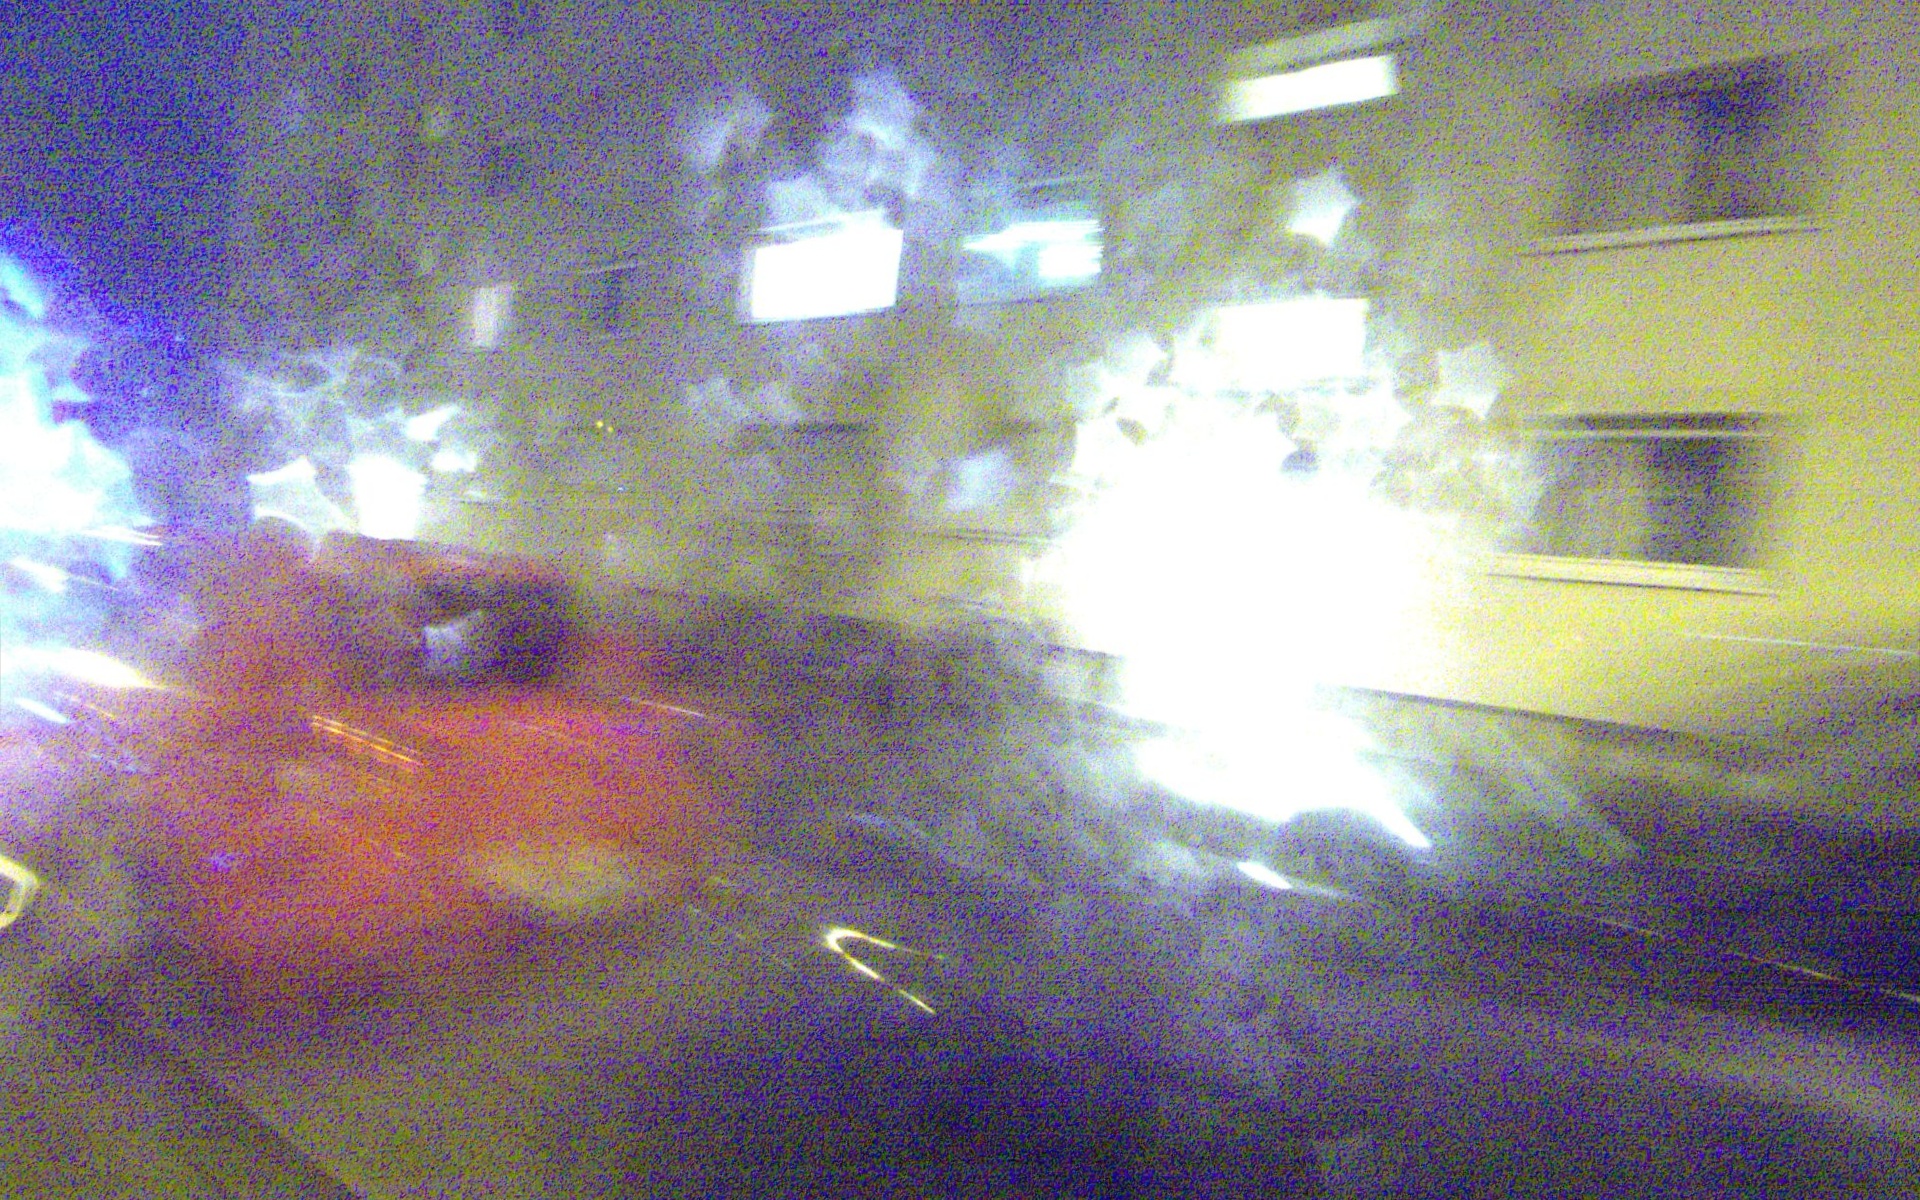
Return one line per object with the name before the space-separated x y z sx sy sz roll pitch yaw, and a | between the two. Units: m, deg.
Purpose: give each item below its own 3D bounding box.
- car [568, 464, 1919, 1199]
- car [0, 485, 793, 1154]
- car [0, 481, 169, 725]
car | 1.659 0.817 1.499 4.413 1.659 1.823 6 2 31
car | -3.028 0.349 4.140 4.413 1.440 1.823 6 2 31
car | -8.116 -0.193 7.551 4.703 1.550 1.823 6 2 31
